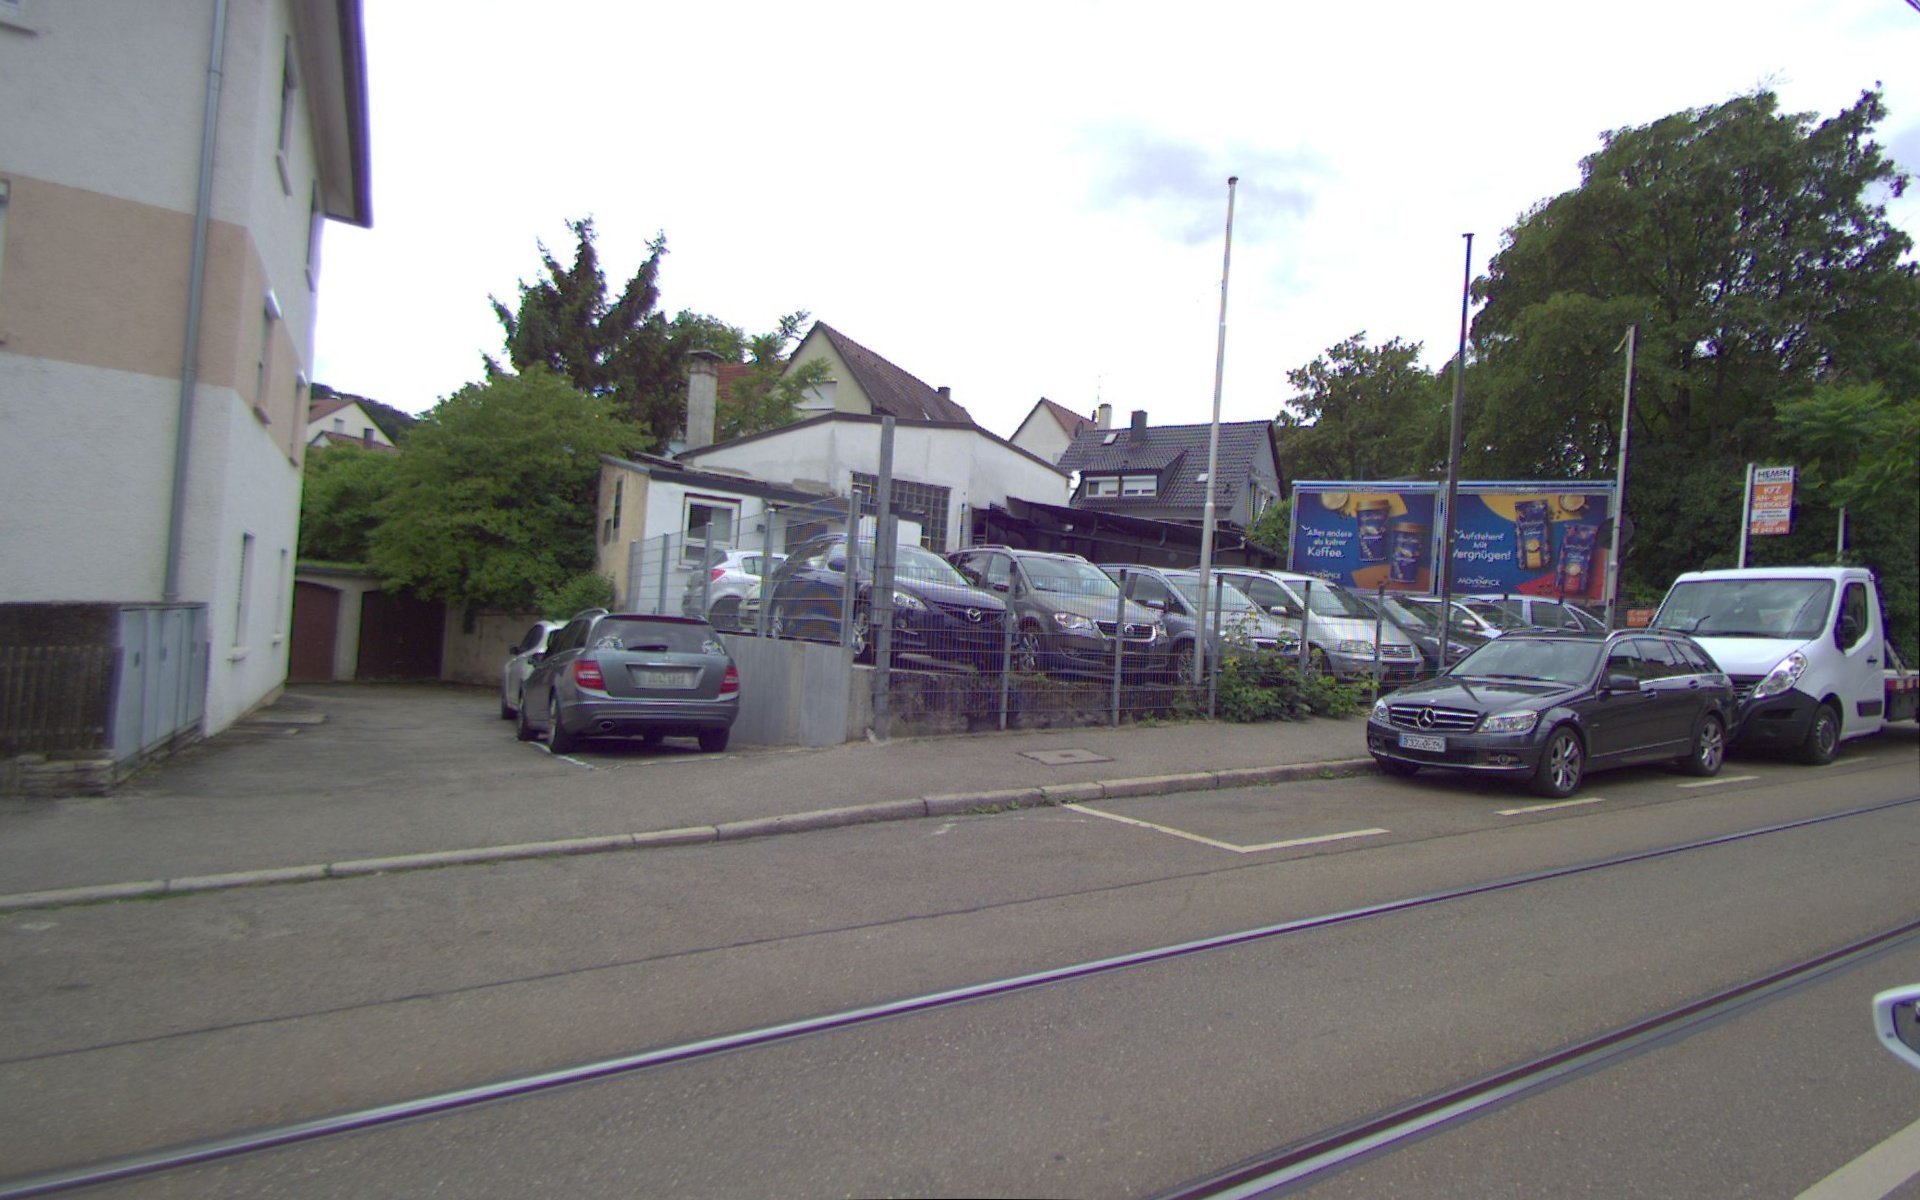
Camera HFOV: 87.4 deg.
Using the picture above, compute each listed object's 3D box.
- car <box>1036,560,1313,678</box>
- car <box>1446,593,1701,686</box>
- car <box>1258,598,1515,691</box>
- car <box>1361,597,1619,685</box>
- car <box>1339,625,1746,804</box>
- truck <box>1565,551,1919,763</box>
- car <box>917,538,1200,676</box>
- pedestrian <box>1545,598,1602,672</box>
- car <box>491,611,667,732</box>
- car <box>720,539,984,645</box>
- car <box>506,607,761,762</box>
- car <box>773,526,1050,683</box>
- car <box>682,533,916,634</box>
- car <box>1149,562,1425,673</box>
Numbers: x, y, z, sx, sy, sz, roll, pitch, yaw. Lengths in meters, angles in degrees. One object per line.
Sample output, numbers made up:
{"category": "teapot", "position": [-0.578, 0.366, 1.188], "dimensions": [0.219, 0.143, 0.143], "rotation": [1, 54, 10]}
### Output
{"category": "car", "position": [2.946, 0.234, 14.672], "dimensions": [1.668, 1.464, 4.040], "rotation": [1, 0, -30]}
{"category": "car", "position": [11.785, 0.693, 19.456], "dimensions": [1.677, 1.572, 3.920], "rotation": [1, 0, -44]}
{"category": "car", "position": [7.209, 0.691, 17.350], "dimensions": [1.668, 1.375, 3.857], "rotation": [1, 0, -30]}
{"category": "car", "position": [9.485, 0.679, 18.278], "dimensions": [1.668, 1.375, 3.857], "rotation": [1, 0, -30]}
{"category": "car", "position": [5.941, 1.003, 10.089], "dimensions": [4.432, 1.452, 1.688], "rotation": [1, -2, -32]}
{"category": "truck", "position": [11.522, 0.676, 13.446], "dimensions": [7.928, 2.217, 2.270], "rotation": [1, 0, -30]}
{"category": "car", "position": [1.134, 0.069, 13.406], "dimensions": [1.719, 1.544, 4.040], "rotation": [1, 0, -30]}
{"category": "pedestrian", "position": [14.037, 0.789, 22.991], "dimensions": [0.829, 1.656, 0.770], "rotation": [1, 0, -26]}
{"category": "car", "position": [-6.079, 1.159, 15.707], "dimensions": [1.839, 1.604, 4.319], "rotation": [4, -6, -30]}
{"category": "car", "position": [-1.699, -0.079, 16.032], "dimensions": [3.842, 1.514, 1.675], "rotation": [1, 0, -29]}
{"category": "car", "position": [-3.809, 0.909, 11.189], "dimensions": [1.839, 1.363, 4.319], "rotation": [1, -4, -30]}
{"category": "car", "position": [-0.774, -0.012, 12.199], "dimensions": [1.668, 1.573, 4.040], "rotation": [1, 2, -30]}
{"category": "car", "position": [-2.890, -0.252, 18.170], "dimensions": [3.842, 1.635, 1.675], "rotation": [1, 0, -29]}
{"category": "car", "position": [4.974, 0.233, 15.841], "dimensions": [1.668, 1.514, 4.040], "rotation": [1, 0, -30]}
